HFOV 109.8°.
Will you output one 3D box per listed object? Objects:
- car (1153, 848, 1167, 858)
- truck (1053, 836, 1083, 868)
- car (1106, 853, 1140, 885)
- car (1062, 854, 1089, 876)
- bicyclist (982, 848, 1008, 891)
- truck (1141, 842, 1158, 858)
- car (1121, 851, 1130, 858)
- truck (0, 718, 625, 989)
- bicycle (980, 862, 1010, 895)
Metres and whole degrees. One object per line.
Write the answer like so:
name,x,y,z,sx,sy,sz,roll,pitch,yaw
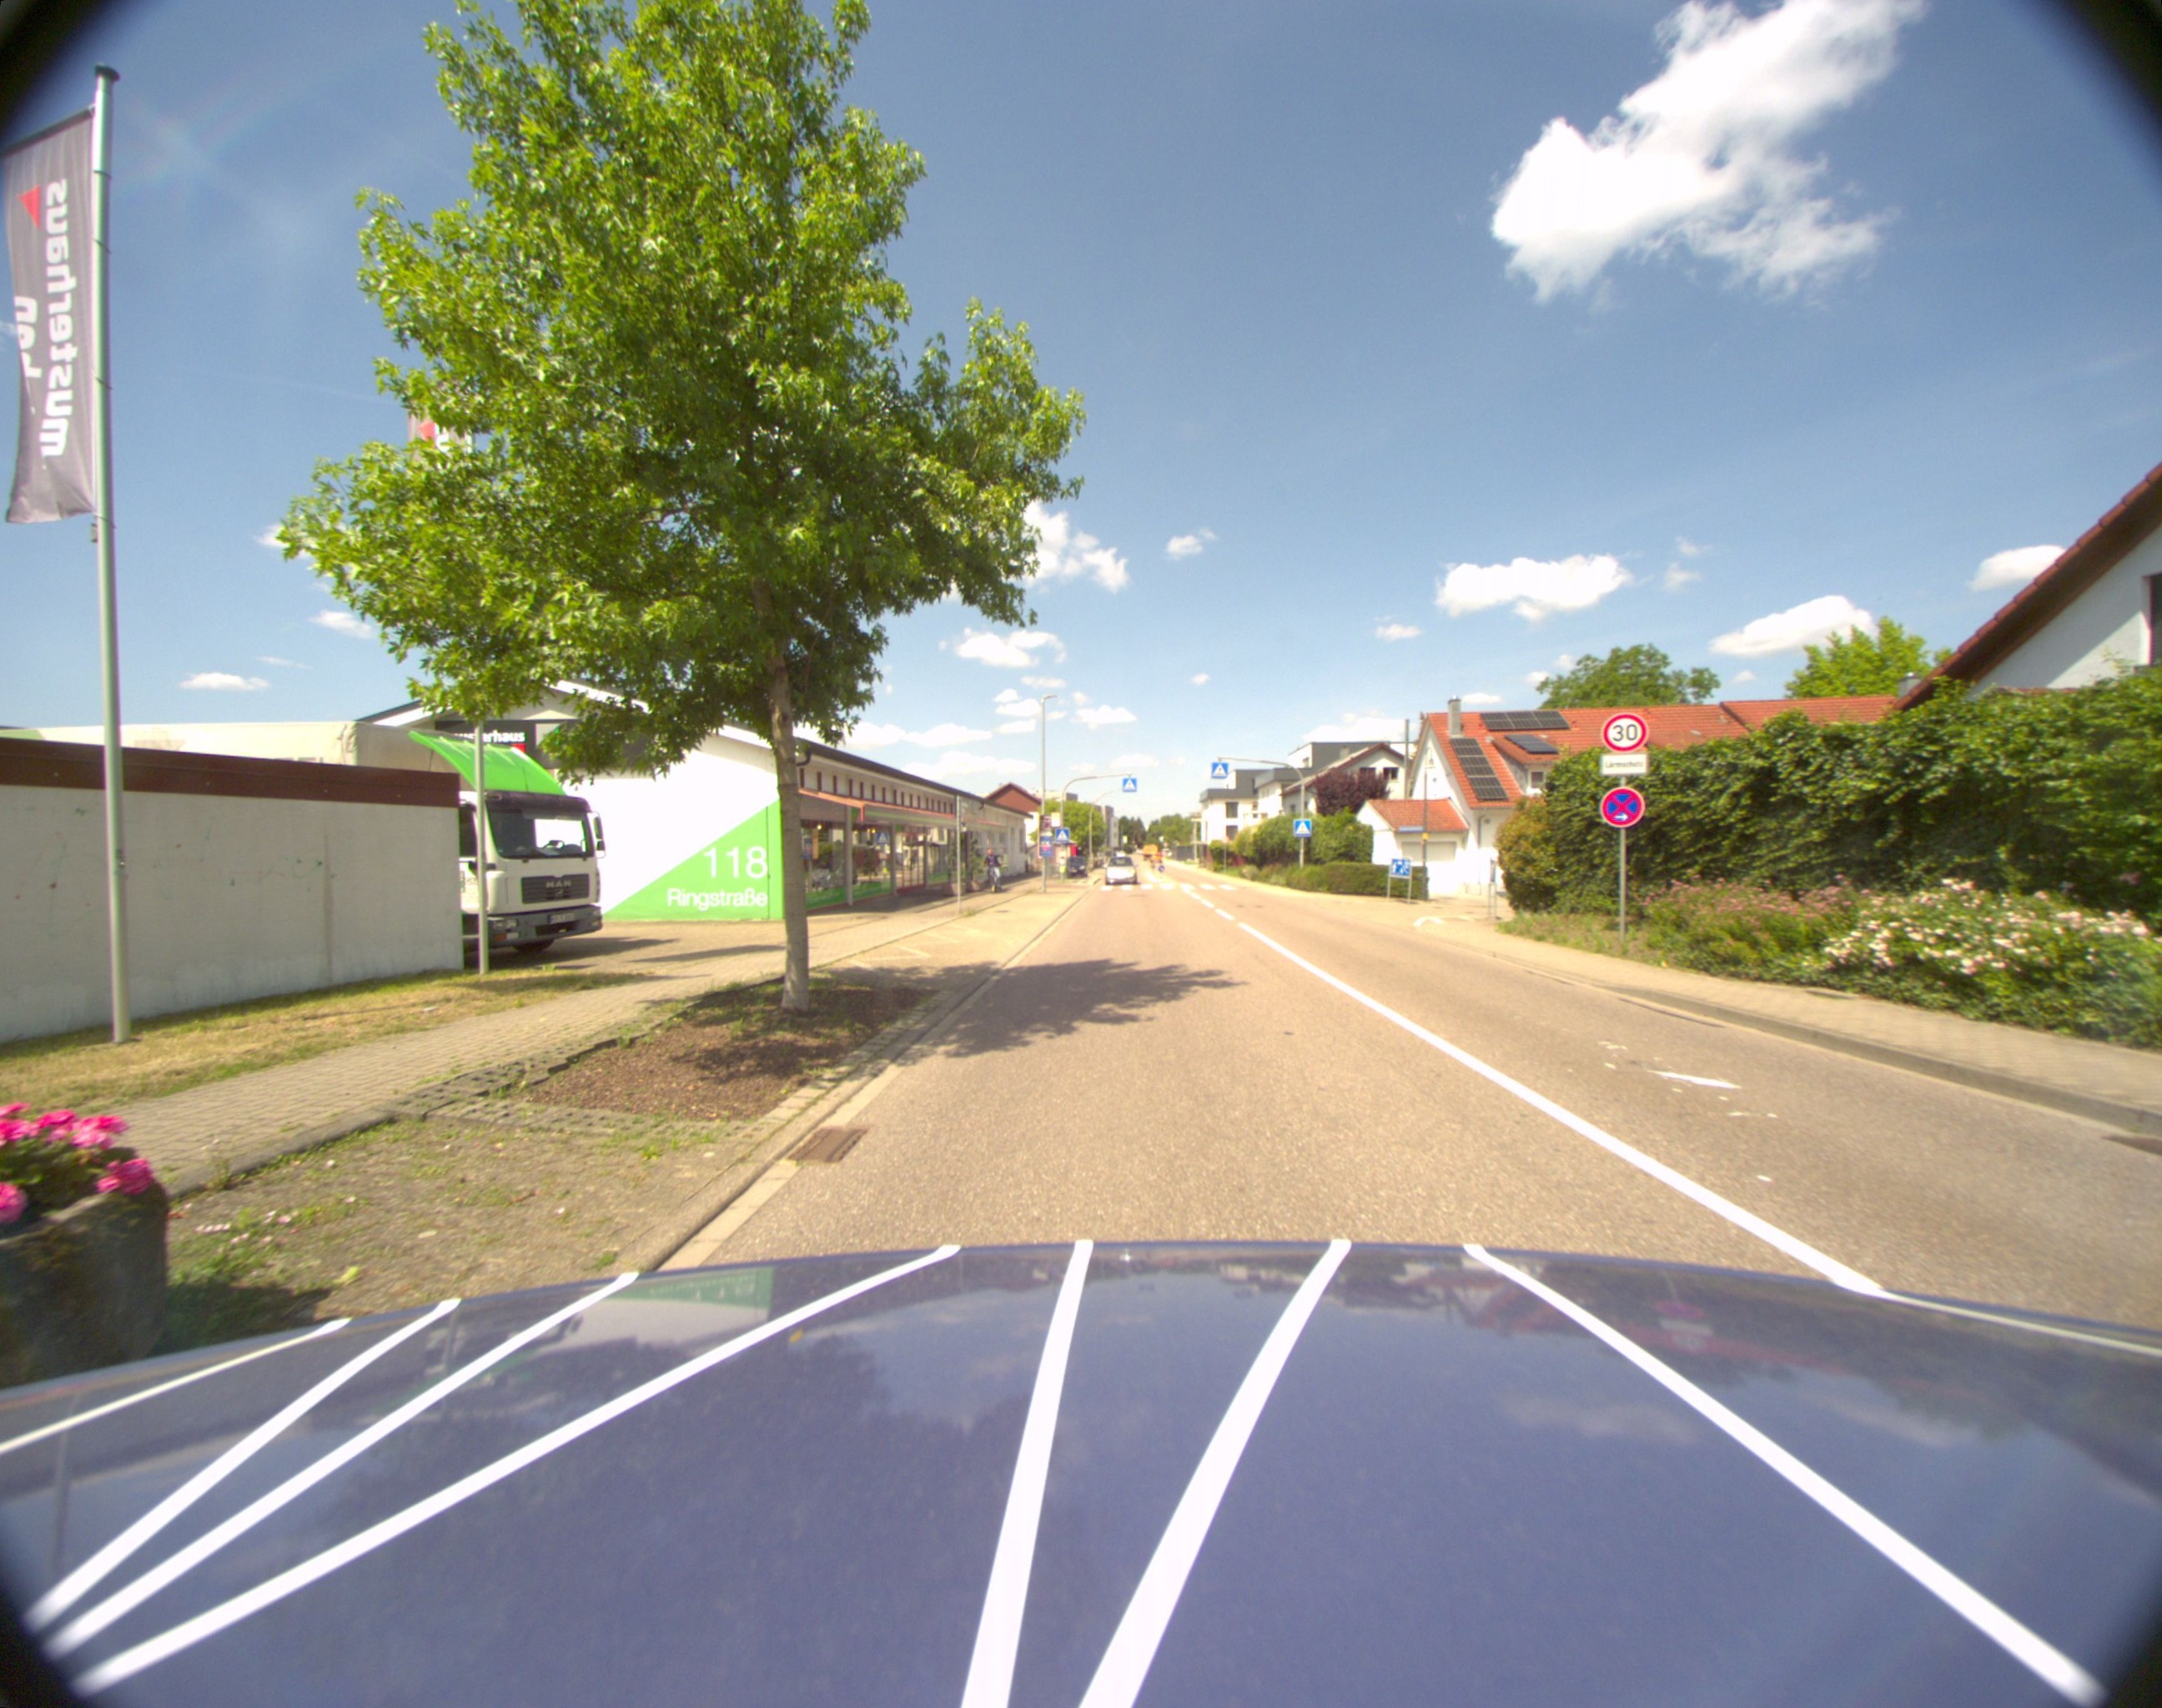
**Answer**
car,11.871,-0.192,114.158,1.798,1.480,3.614,1,1,3
truck,-1.257,-0.193,70.660,2.579,2.745,6.332,1,1,-2
car,2.347,0.810,42.374,1.722,1.590,3.760,-3,0,3
car,-0.383,0.787,55.481,1.729,1.484,3.760,1,1,3
bicyclist,-3.321,0.591,29.515,0.805,1.620,1.112,0,1,4
truck,12.100,-0.800,134.826,2.863,2.695,6.792,1,1,3
car,9.768,0.139,166.205,1.728,1.484,3.761,1,1,4
truck,-11.908,0.018,11.676,8.189,3.552,2.678,-1,2,3
bicycle,-3.342,0.937,29.595,0.805,1.158,1.943,1,1,4
